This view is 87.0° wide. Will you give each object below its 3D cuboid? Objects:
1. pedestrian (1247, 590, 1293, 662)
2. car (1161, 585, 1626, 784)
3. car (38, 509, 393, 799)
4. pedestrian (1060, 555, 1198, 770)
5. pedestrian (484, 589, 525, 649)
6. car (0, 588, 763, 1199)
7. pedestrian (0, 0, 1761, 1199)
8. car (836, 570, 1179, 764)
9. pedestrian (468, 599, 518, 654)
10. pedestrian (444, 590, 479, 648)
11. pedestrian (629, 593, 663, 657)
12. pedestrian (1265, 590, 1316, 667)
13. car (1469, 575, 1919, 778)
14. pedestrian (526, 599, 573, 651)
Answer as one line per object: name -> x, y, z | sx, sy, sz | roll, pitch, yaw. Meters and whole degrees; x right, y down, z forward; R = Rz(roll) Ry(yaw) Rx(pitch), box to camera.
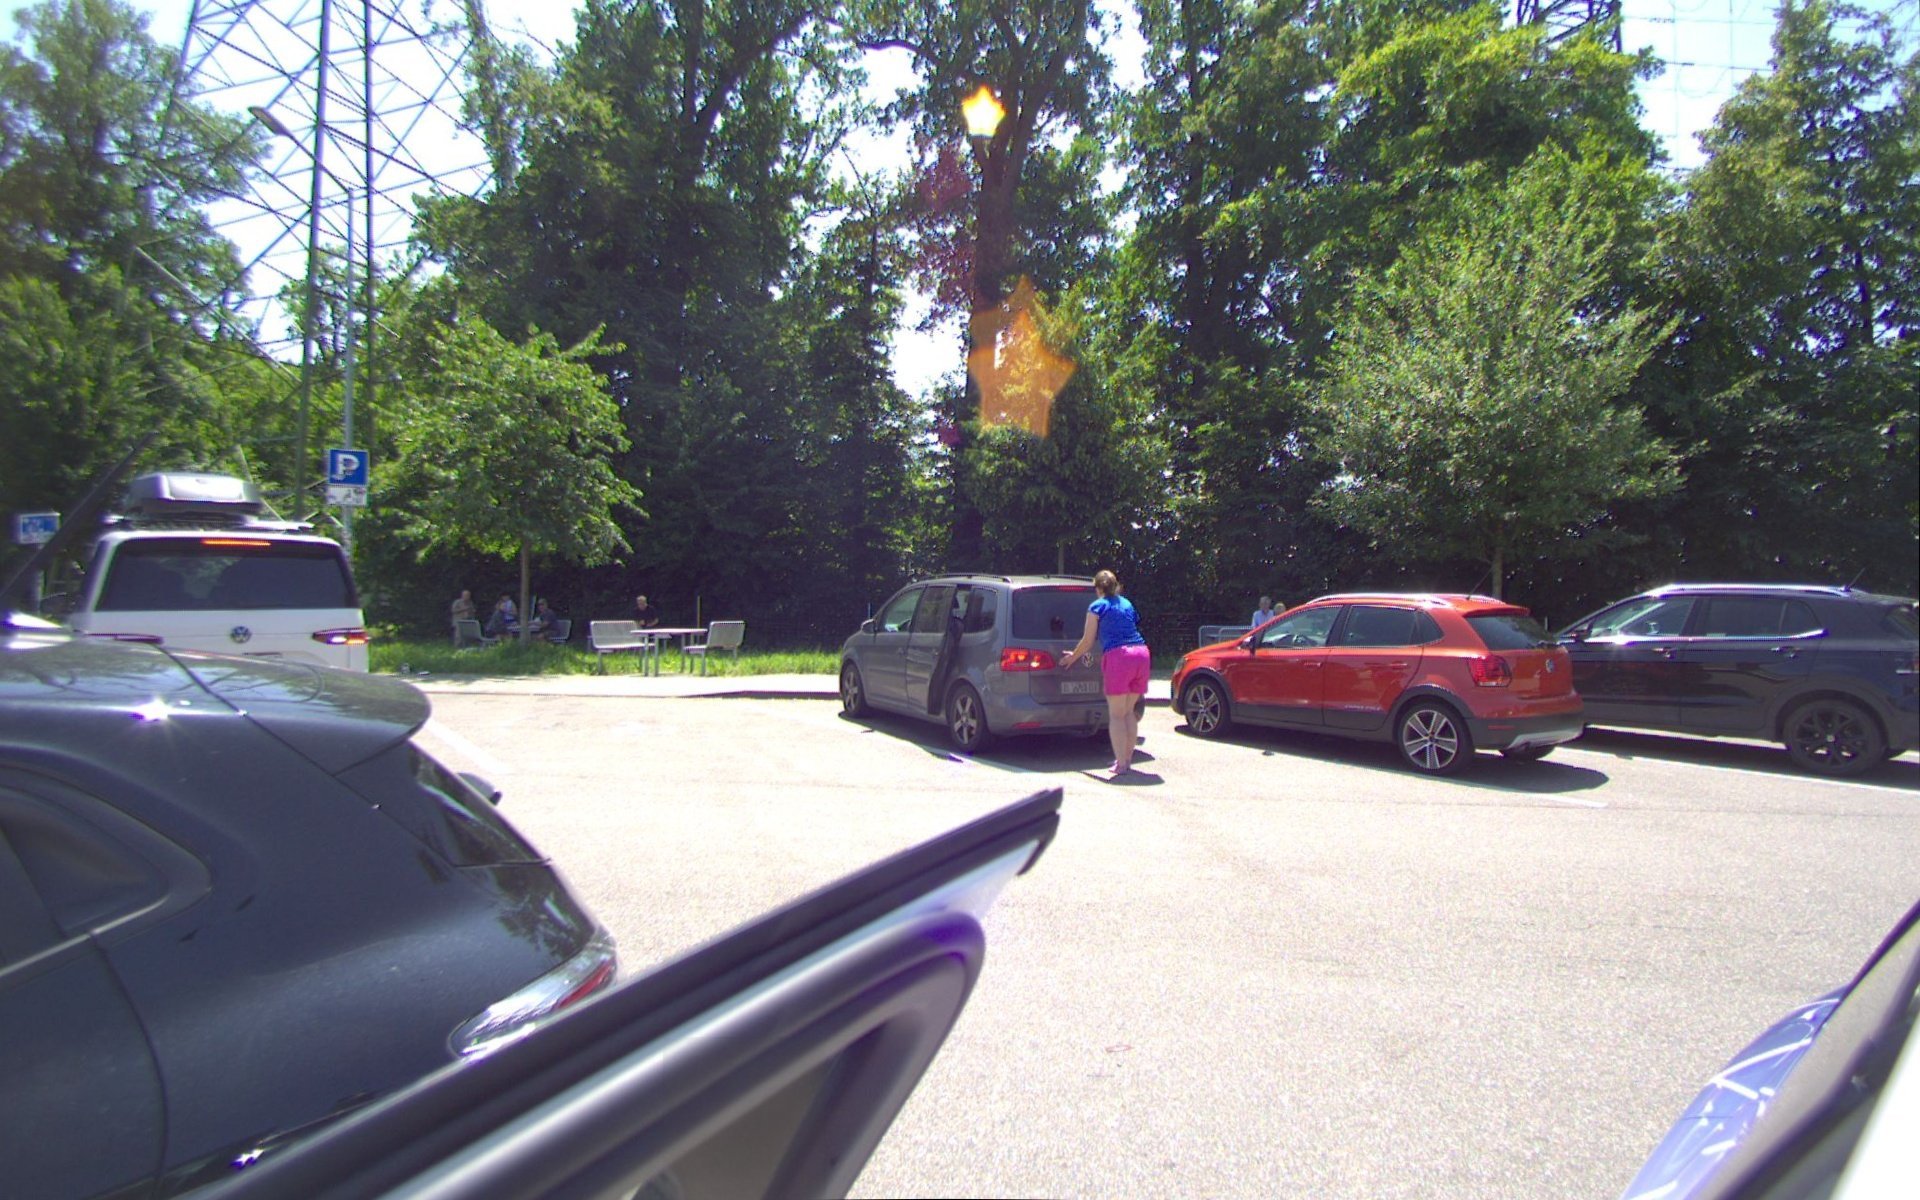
pedestrian -> 5.802, 0.472, 18.977 | 0.657, 1.311, 0.783 | 0, 0, 3
car -> 3.868, 0.607, 9.652 | 1.687, 1.484, 3.793 | 0, 1, -32
car -> -6.817, 0.318, 9.046 | 4.550, 1.936, 1.881 | 1, 1, 45
pedestrian -> 1.402, 0.488, 8.478 | 0.900, 1.703, 0.735 | 0, 0, -18
pedestrian -> -11.030, 0.456, 24.499 | 0.664, 1.422, 0.643 | 0, 0, 32
car -> -2.190, 0.718, 0.604 | 1.737, 1.501, 3.757 | 0, 0, 44
pedestrian -> -0.087, 0.538, 0.535 | 0.874, 1.865, 0.621 | 0, 0, -38
car -> 0.268, 0.514, 10.523 | 1.713, 1.601, 3.996 | 0, 1, -29
pedestrian -> -10.501, 0.582, 22.777 | 0.873, 1.192, 0.668 | 0, 0, -41
pedestrian -> -12.279, 0.456, 24.936 | 0.657, 1.422, 0.649 | 0, 0, -39
pedestrian -> -6.591, 0.516, 21.270 | 0.655, 1.311, 0.786 | 0, 0, -16
pedestrian -> 5.796, 0.483, 17.761 | 0.657, 1.311, 0.783 | 0, 0, 3
car -> 7.194, 0.572, 9.711 | 1.690, 1.593, 3.787 | 0, 1, -39
pedestrian -> -9.585, 0.569, 23.631 | 0.873, 1.192, 0.668 | 0, 0, -41
